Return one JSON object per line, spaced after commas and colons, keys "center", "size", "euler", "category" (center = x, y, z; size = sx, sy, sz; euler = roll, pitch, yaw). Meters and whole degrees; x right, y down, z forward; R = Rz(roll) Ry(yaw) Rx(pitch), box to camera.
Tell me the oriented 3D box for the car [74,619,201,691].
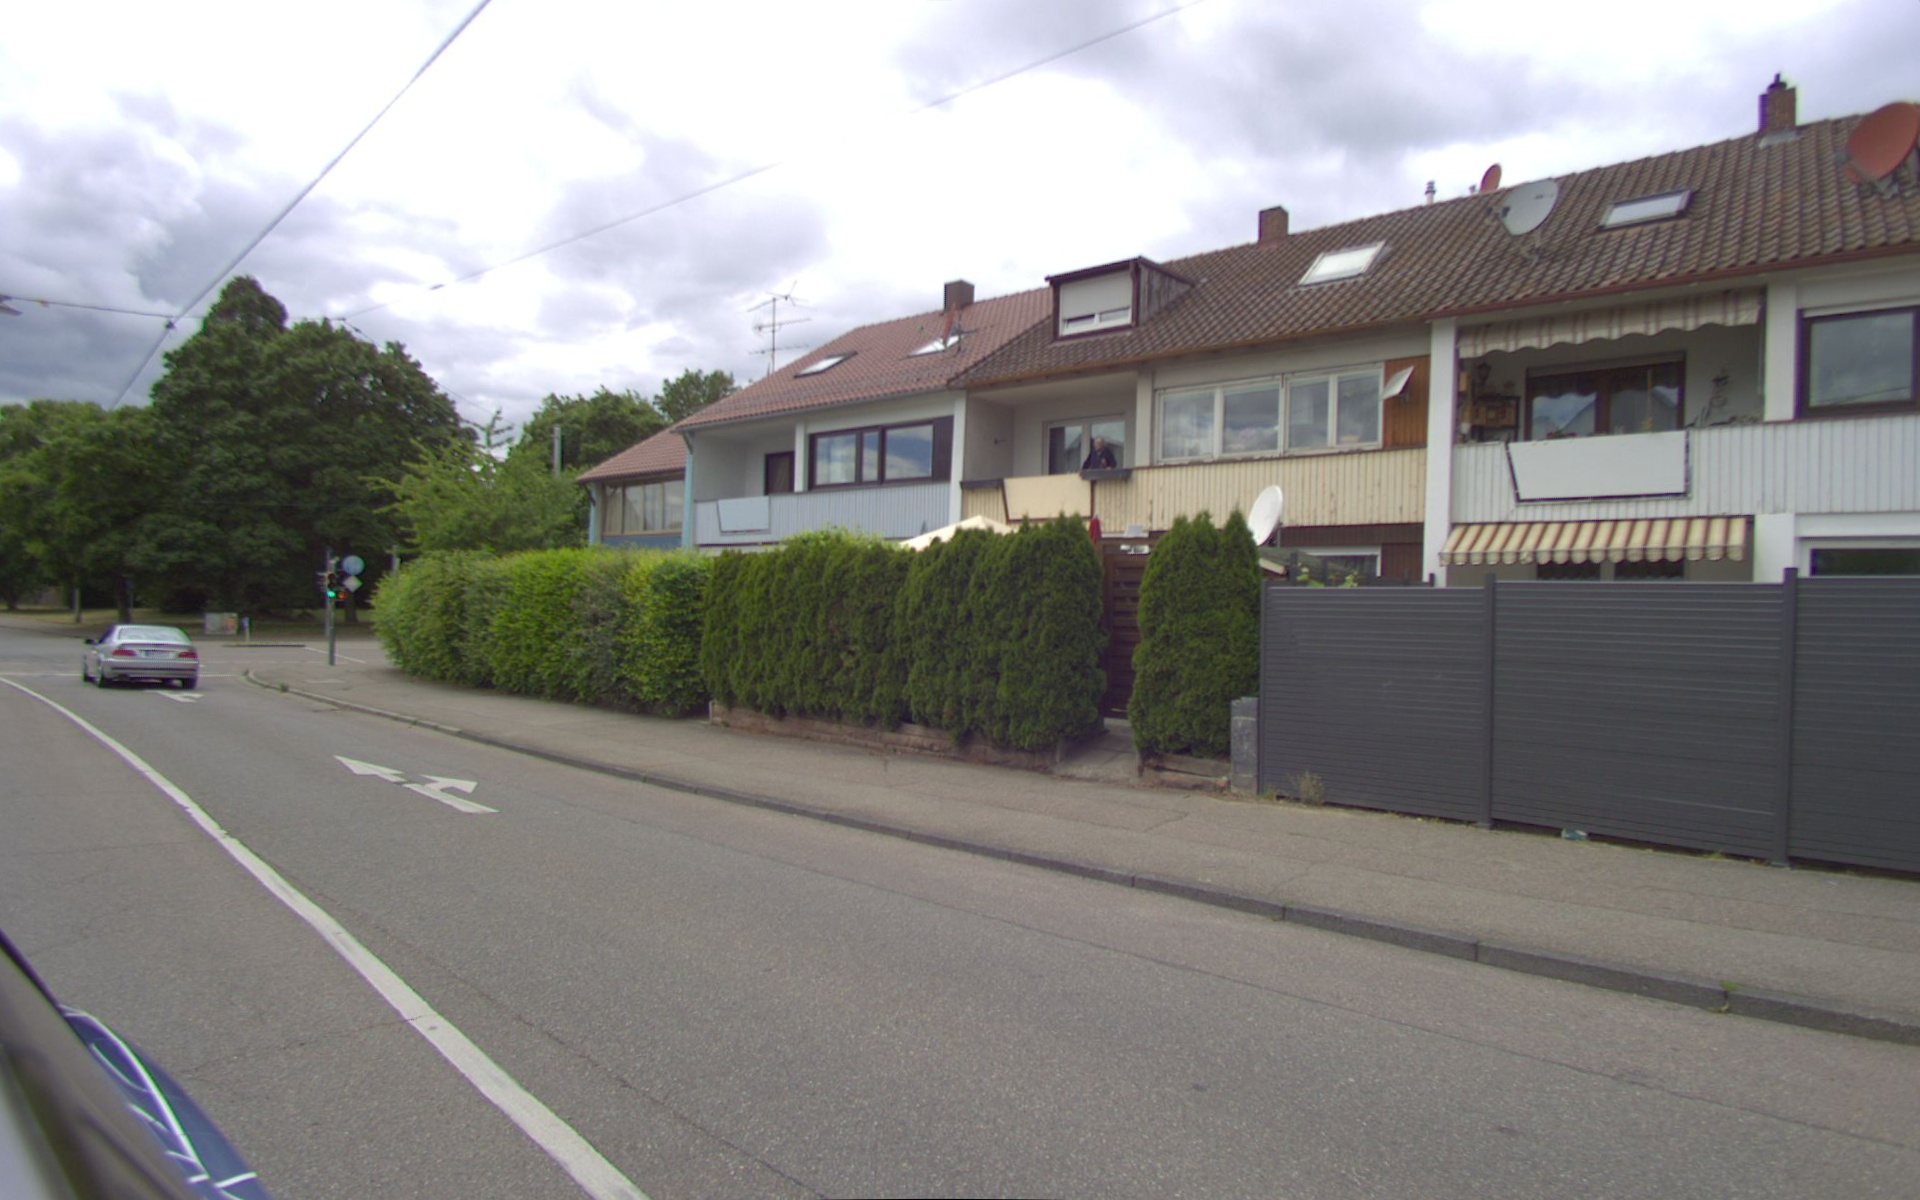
{"center": [-18.560, 1.207, 22.782], "size": [4.085, 1.364, 1.693], "euler": [-1, -6, 45], "category": "car"}
